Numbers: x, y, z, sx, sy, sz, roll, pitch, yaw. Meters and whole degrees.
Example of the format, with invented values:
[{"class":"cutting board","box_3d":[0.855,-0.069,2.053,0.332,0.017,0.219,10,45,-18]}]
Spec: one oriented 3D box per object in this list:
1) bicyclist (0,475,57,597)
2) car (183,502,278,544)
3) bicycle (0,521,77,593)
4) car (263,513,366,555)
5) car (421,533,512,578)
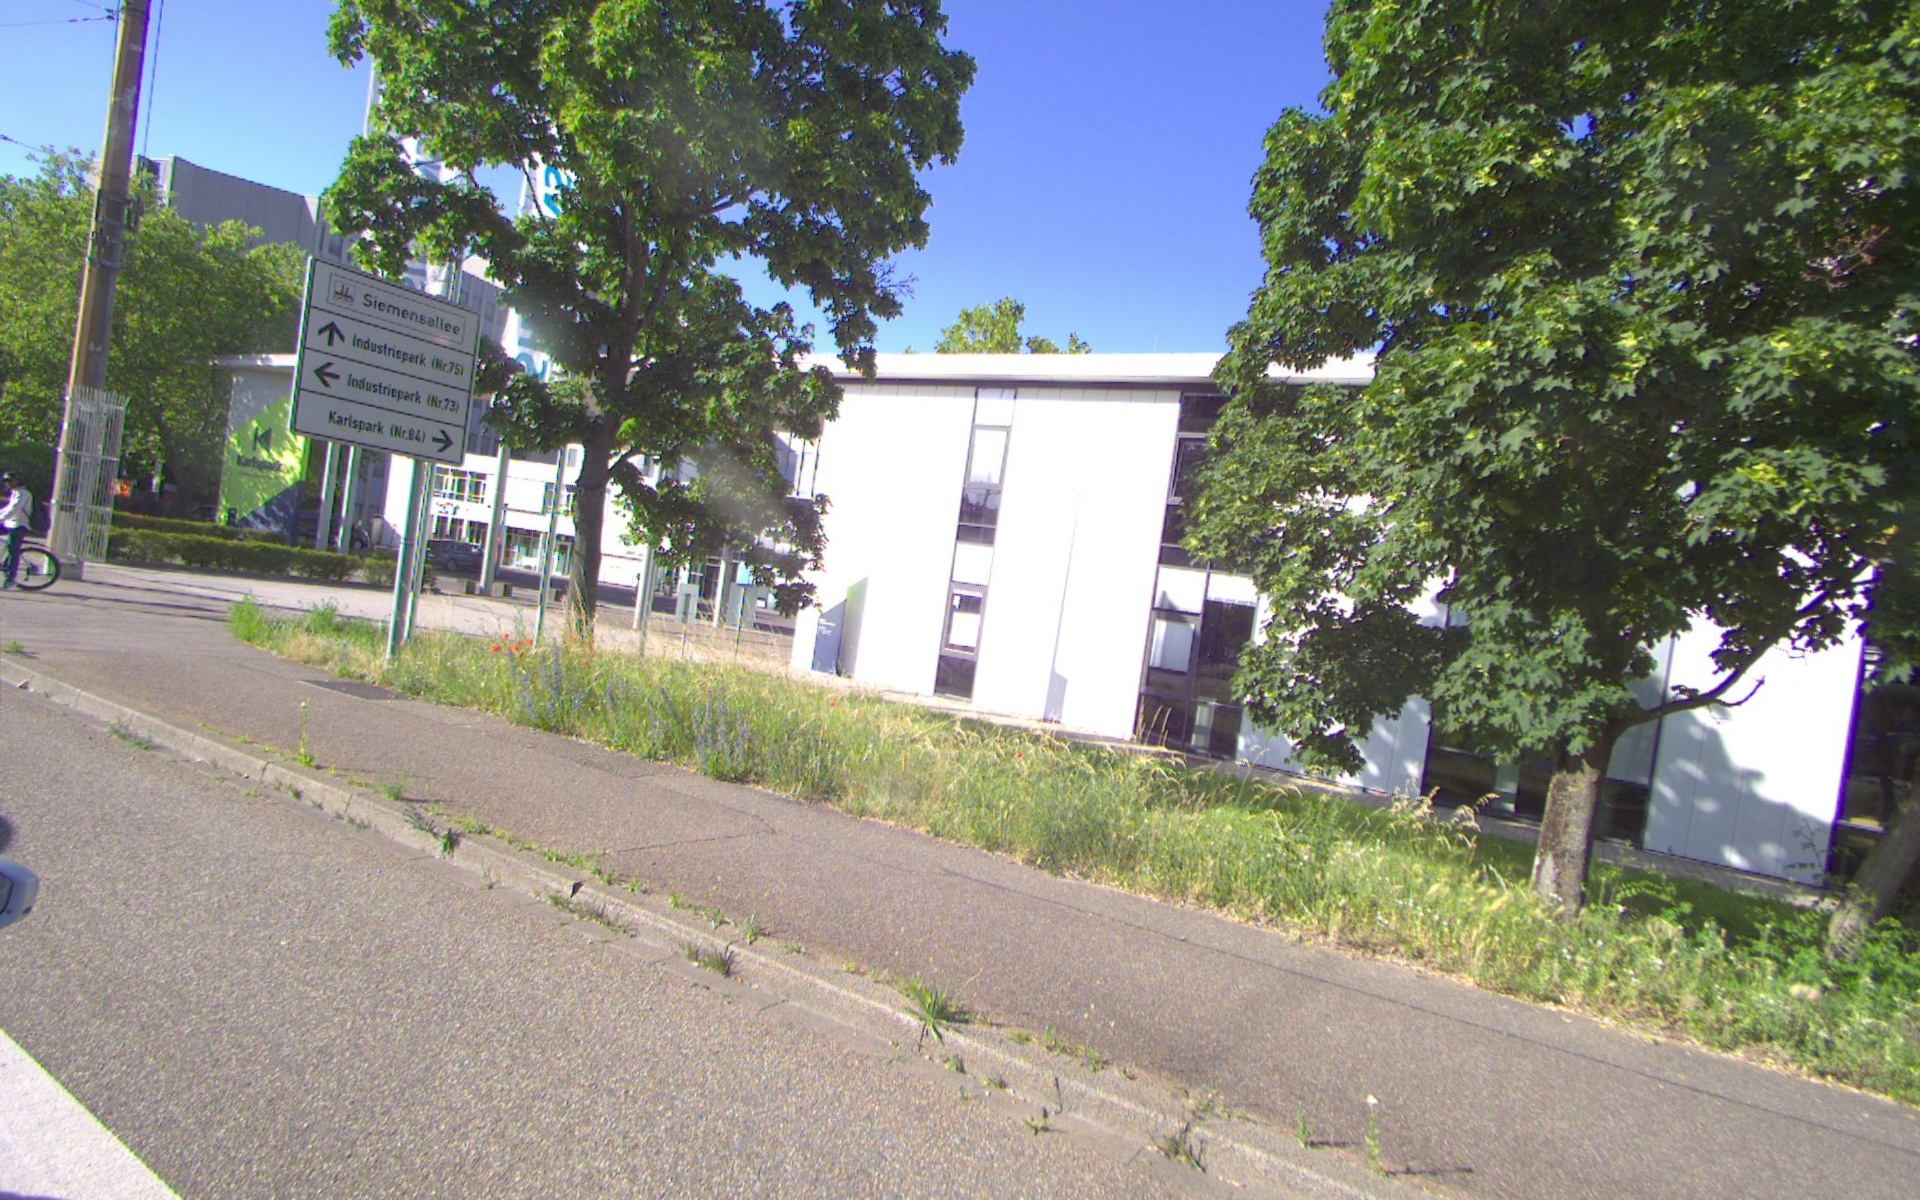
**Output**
[{"class":"bicyclist","box_3d":[-14.497,-0.997,15.345,0.754,1.767,0.908,7,1,42]},{"class":"car","box_3d":[-42.730,-4.491,59.030,1.963,1.778,4.002,7,-1,19]},{"class":"bicycle","box_3d":[-14.682,-0.699,15.194,0.754,1.010,1.915,7,1,42]},{"class":"car","box_3d":[-36.200,-3.688,56.548,1.841,1.649,4.553,7,-1,19]},{"class":"car","box_3d":[-26.276,-2.332,53.702,1.865,1.741,4.001,8,-1,22]}]
